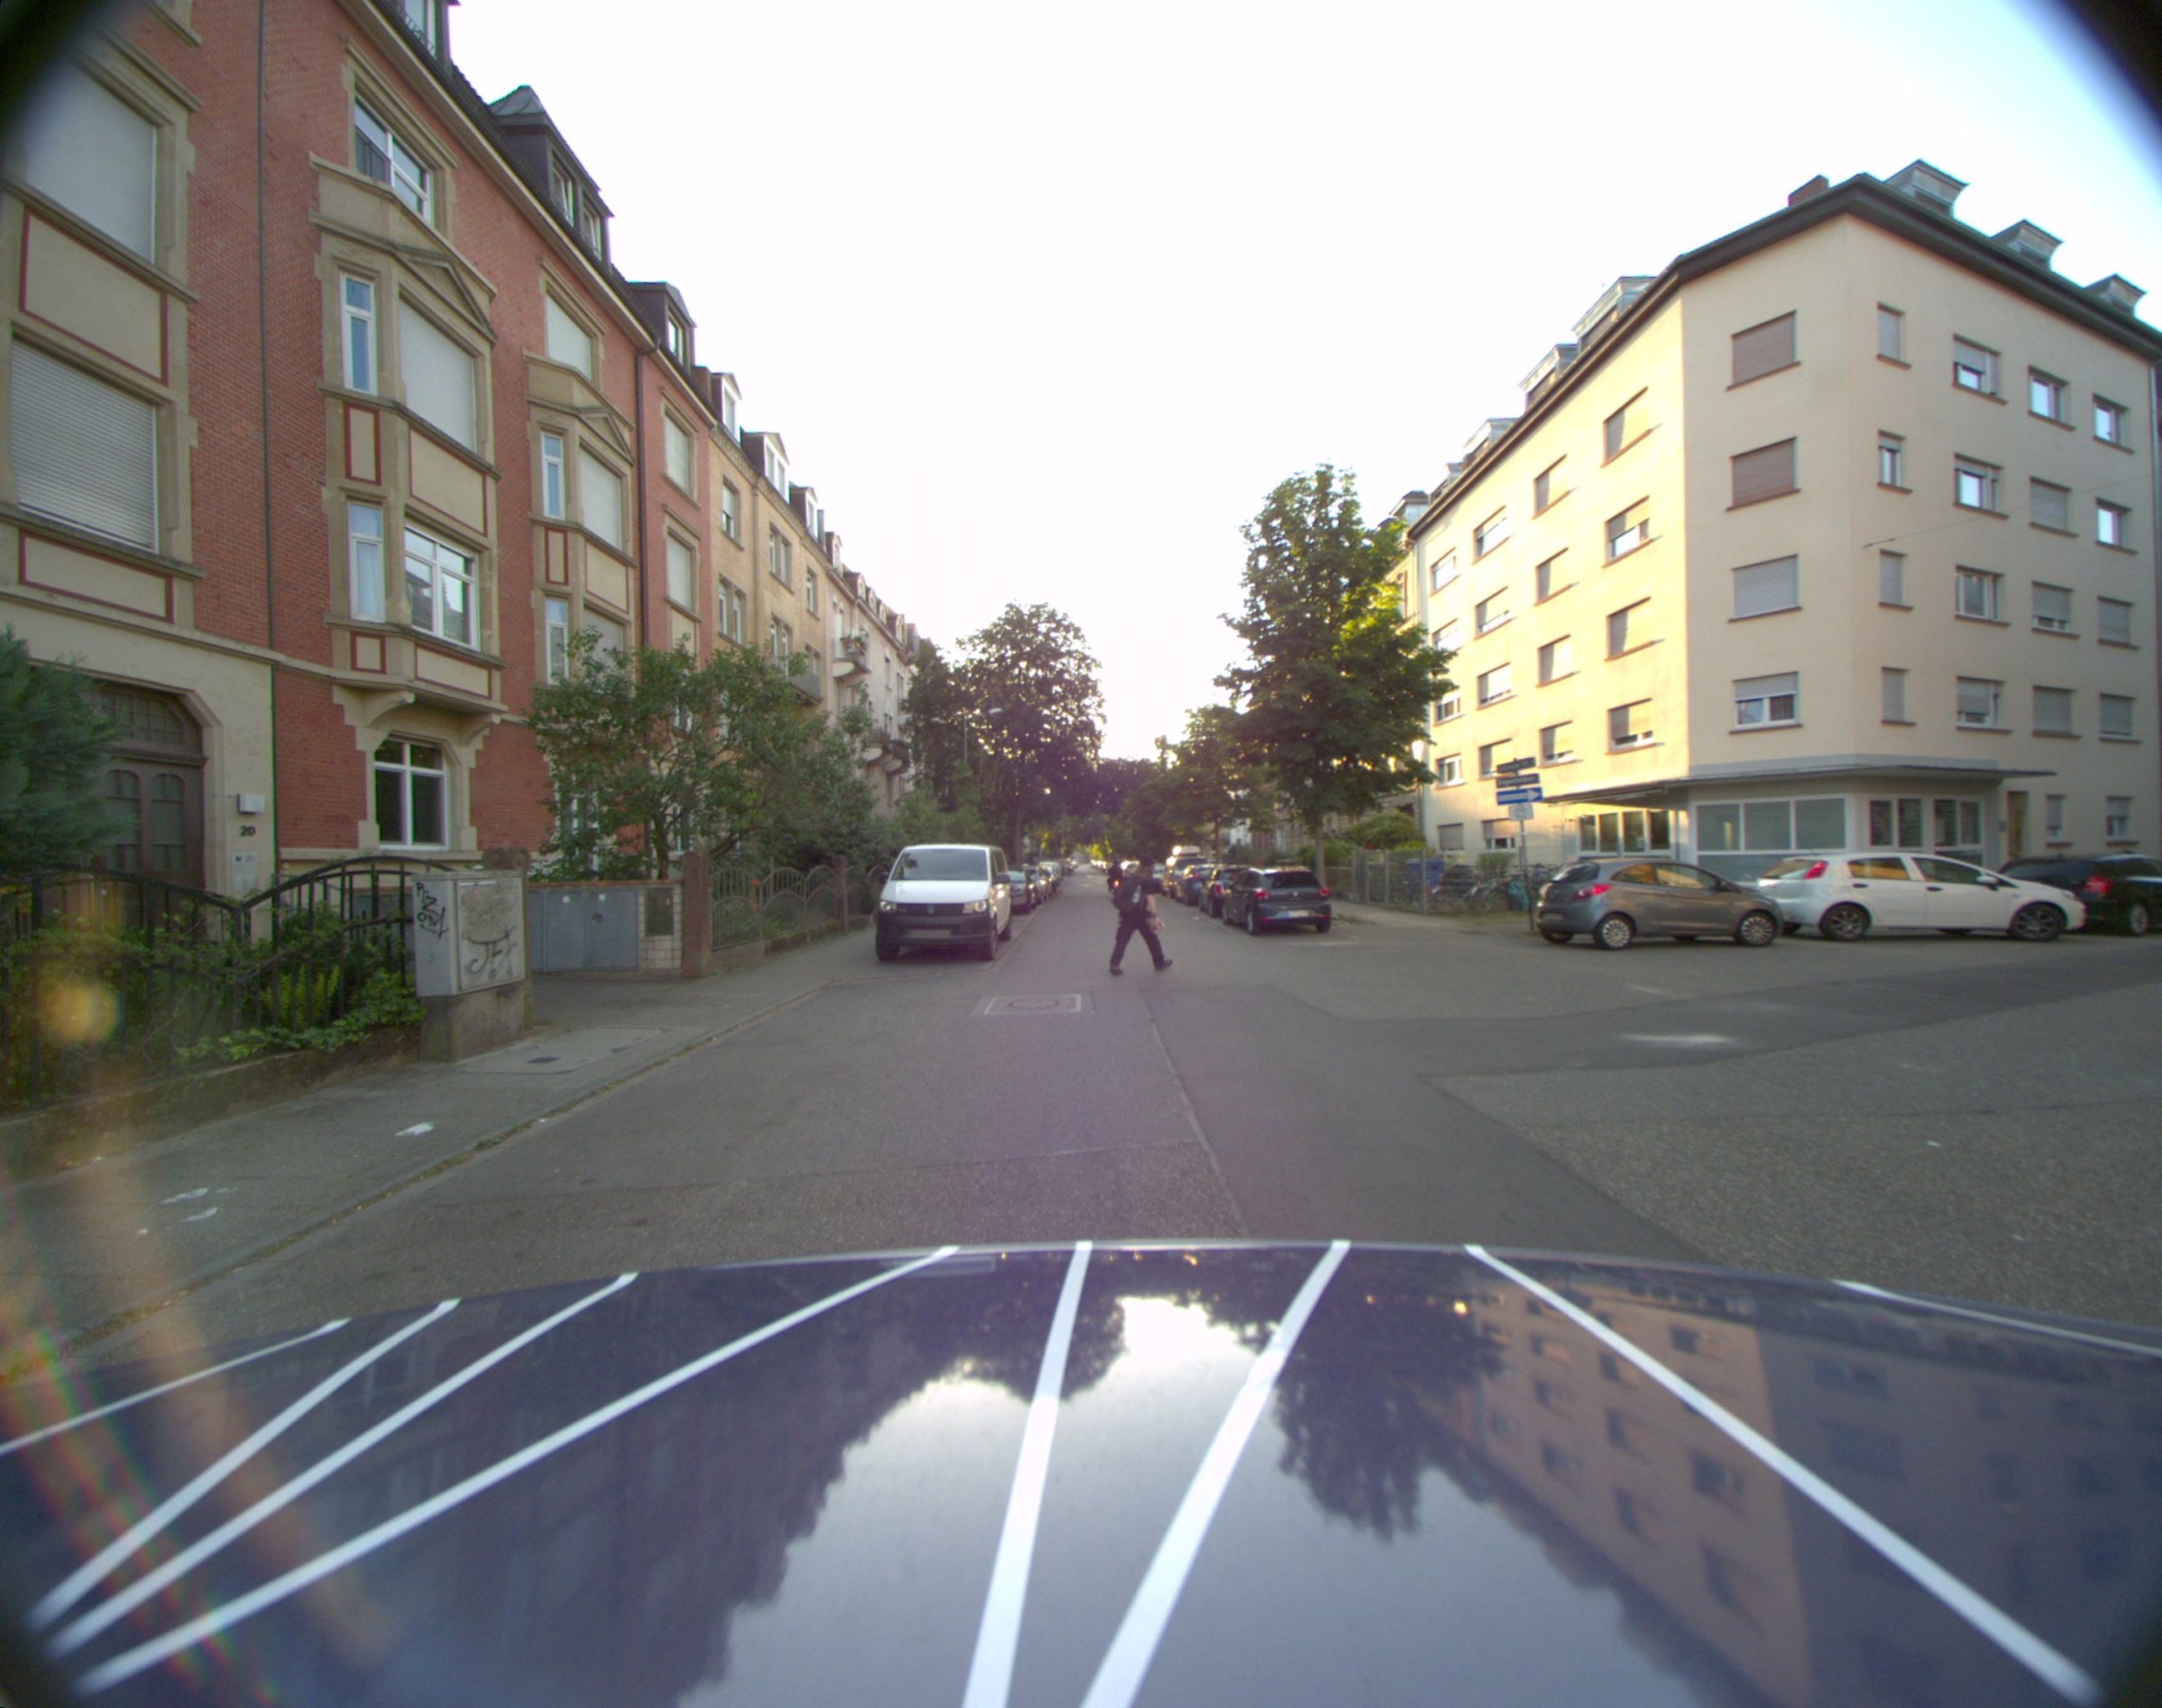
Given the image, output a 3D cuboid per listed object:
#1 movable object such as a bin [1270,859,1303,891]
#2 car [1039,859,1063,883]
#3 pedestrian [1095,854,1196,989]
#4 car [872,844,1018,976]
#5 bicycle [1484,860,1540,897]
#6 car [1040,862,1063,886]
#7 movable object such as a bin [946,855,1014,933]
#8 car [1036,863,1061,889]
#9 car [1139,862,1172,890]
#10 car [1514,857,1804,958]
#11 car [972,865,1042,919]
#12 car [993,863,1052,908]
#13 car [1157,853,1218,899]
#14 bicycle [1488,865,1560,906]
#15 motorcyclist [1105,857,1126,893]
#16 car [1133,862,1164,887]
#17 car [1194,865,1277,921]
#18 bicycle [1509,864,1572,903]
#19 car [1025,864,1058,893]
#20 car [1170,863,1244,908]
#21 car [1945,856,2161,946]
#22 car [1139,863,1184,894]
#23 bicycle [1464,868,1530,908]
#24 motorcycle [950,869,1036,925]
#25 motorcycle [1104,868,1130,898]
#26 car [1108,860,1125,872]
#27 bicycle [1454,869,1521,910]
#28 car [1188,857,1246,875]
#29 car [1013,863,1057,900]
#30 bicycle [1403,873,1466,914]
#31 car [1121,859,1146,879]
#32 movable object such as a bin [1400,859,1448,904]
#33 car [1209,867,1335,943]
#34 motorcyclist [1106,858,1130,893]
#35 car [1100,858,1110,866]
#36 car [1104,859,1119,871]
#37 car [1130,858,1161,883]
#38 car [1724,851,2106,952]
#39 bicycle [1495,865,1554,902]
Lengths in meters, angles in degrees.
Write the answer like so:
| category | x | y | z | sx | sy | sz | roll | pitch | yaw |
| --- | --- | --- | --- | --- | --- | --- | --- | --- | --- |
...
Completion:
| category | x | y | z | sx | sy | sz | roll | pitch | yaw |
| --- | --- | --- | --- | --- | --- | --- | --- | --- | --- |
| movable object such as a bin | 9.276 | 0.934 | 34.416 | 0.948 | 1.379 | 1.551 | -3 | 0 | -3 |
| car | -2.278 | 1.269 | 58.361 | 1.737 | 1.691 | 4.168 | -2 | 0 | -2 |
| pedestrian | 0.873 | 0.881 | 10.406 | 0.960 | 1.712 | 0.889 | -3 | 0 | -32 |
| car | -2.329 | 0.868 | 14.495 | 1.866 | 2.027 | 5.544 | 0 | 0 | -1 |
| bicycle | 13.797 | 0.777 | 24.333 | 1.548 | 1.086 | 0.500 | -3 | 0 | -6 |
| car | -2.025 | 1.340 | 52.747 | 1.502 | 1.538 | 3.338 | -2 | 0 | -2 |
| movable object such as a bin | -2.538 | 0.965 | 19.439 | 1.415 | 1.867 | 2.324 | 1 | 0 | 0 |
| car | -2.057 | 1.344 | 48.348 | 1.479 | 1.498 | 3.928 | -2 | 0 | -2 |
| car | 4.257 | 1.241 | 43.869 | 1.441 | 1.485 | 3.298 | -2 | 0 | -2 |
| car | 9.683 | 0.870 | 12.968 | 3.515 | 1.498 | 1.845 | -2 | -1 | -1 |
| car | -2.382 | 1.190 | 25.512 | 1.724 | 1.542 | 4.326 | -2 | 0 | 2 |
| car | -2.290 | 1.200 | 30.766 | 1.761 | 1.573 | 4.842 | -3 | 0 | 2 |
| car | 4.499 | 0.899 | 32.828 | 1.866 | 1.768 | 4.623 | -2 | 0 | -1 |
| bicycle | 12.561 | 0.890 | 21.587 | 0.386 | 1.086 | 1.707 | -3 | 0 | -36 |
| motorcyclist | 1.457 | 0.895 | 32.453 | 0.788 | 1.531 | 0.546 | 2 | 1 | 10 |
| car | 4.261 | 1.273 | 48.324 | 1.682 | 1.489 | 3.626 | -2 | 0 | 2 |
| car | 4.490 | 1.080 | 22.663 | 1.746 | 1.412 | 4.143 | -2 | 0 | 2 |
| bicycle | 13.965 | 0.880 | 23.097 | 1.635 | 1.086 | 0.500 | -3 | 0 | -6 |
| car | -2.179 | 1.355 | 43.010 | 1.737 | 1.498 | 4.163 | -2 | 0 | -2 |
| car | 4.506 | 1.092 | 27.897 | 1.866 | 1.404 | 4.590 | -2 | 0 | -1 |
| car | 18.587 | 0.785 | 13.990 | 4.082 | 1.430 | 1.996 | -1 | -1 | -16 |
| car | 4.091 | 1.205 | 39.148 | 1.733 | 1.433 | 4.024 | -2 | 0 | -2 |
| bicycle | 11.889 | 0.955 | 21.732 | 0.502 | 1.086 | 1.545 | -3 | 0 | -37 |
| motorcycle | -2.474 | 1.161 | 21.374 | 2.099 | 1.473 | 1.130 | 0 | 0 | -33 |
| motorcycle | 1.574 | 1.242 | 33.018 | 0.848 | 1.202 | 2.076 | 2 | 0 | 10 |
| car | 4.535 | 1.539 | 98.602 | 1.953 | 1.484 | 3.738 | -2 | 0 | 0 |
| bicycle | 11.453 | 0.987 | 21.449 | 0.502 | 1.086 | 1.545 | -3 | 0 | -37 |
| car | 11.130 | 0.947 | 62.414 | 4.413 | 1.333 | 1.626 | -2 | 0 | 1 |
| car | -2.092 | 1.230 | 35.260 | 1.590 | 1.516 | 3.603 | -3 | 0 | 2 |
| bicycle | 9.839 | 1.085 | 21.224 | 0.689 | 1.019 | 1.931 | -3 | 0 | -5 |
| car | 4.436 | 1.232 | 64.765 | 1.677 | 1.627 | 3.940 | -2 | 0 | -3 |
| movable object such as a bin | 10.946 | 0.864 | 24.288 | 0.868 | 1.344 | 1.398 | -3 | 0 | 2 |
| car | 4.321 | 1.095 | 17.915 | 1.679 | 1.453 | 4.463 | -2 | 0 | -2 |
| motorcyclist | 1.620 | 0.922 | 33.232 | 0.891 | 1.496 | 0.970 | 2 | 1 | 10 |
| car | 4.689 | 1.605 | 148.320 | 1.840 | 1.484 | 3.641 | -2 | 0 | 0 |
| car | 4.207 | 1.525 | 104.242 | 1.840 | 1.484 | 3.641 | -2 | 0 | 0 |
| car | 4.509 | 1.139 | 53.364 | 1.866 | 1.653 | 4.021 | -2 | 0 | 1 |
| car | 14.207 | 0.787 | 13.258 | 4.066 | 1.499 | 1.975 | -3 | 0 | 12 |
| bicycle | 13.846 | 0.911 | 23.720 | 1.548 | 1.086 | 0.500 | -3 | 0 | -6 |
